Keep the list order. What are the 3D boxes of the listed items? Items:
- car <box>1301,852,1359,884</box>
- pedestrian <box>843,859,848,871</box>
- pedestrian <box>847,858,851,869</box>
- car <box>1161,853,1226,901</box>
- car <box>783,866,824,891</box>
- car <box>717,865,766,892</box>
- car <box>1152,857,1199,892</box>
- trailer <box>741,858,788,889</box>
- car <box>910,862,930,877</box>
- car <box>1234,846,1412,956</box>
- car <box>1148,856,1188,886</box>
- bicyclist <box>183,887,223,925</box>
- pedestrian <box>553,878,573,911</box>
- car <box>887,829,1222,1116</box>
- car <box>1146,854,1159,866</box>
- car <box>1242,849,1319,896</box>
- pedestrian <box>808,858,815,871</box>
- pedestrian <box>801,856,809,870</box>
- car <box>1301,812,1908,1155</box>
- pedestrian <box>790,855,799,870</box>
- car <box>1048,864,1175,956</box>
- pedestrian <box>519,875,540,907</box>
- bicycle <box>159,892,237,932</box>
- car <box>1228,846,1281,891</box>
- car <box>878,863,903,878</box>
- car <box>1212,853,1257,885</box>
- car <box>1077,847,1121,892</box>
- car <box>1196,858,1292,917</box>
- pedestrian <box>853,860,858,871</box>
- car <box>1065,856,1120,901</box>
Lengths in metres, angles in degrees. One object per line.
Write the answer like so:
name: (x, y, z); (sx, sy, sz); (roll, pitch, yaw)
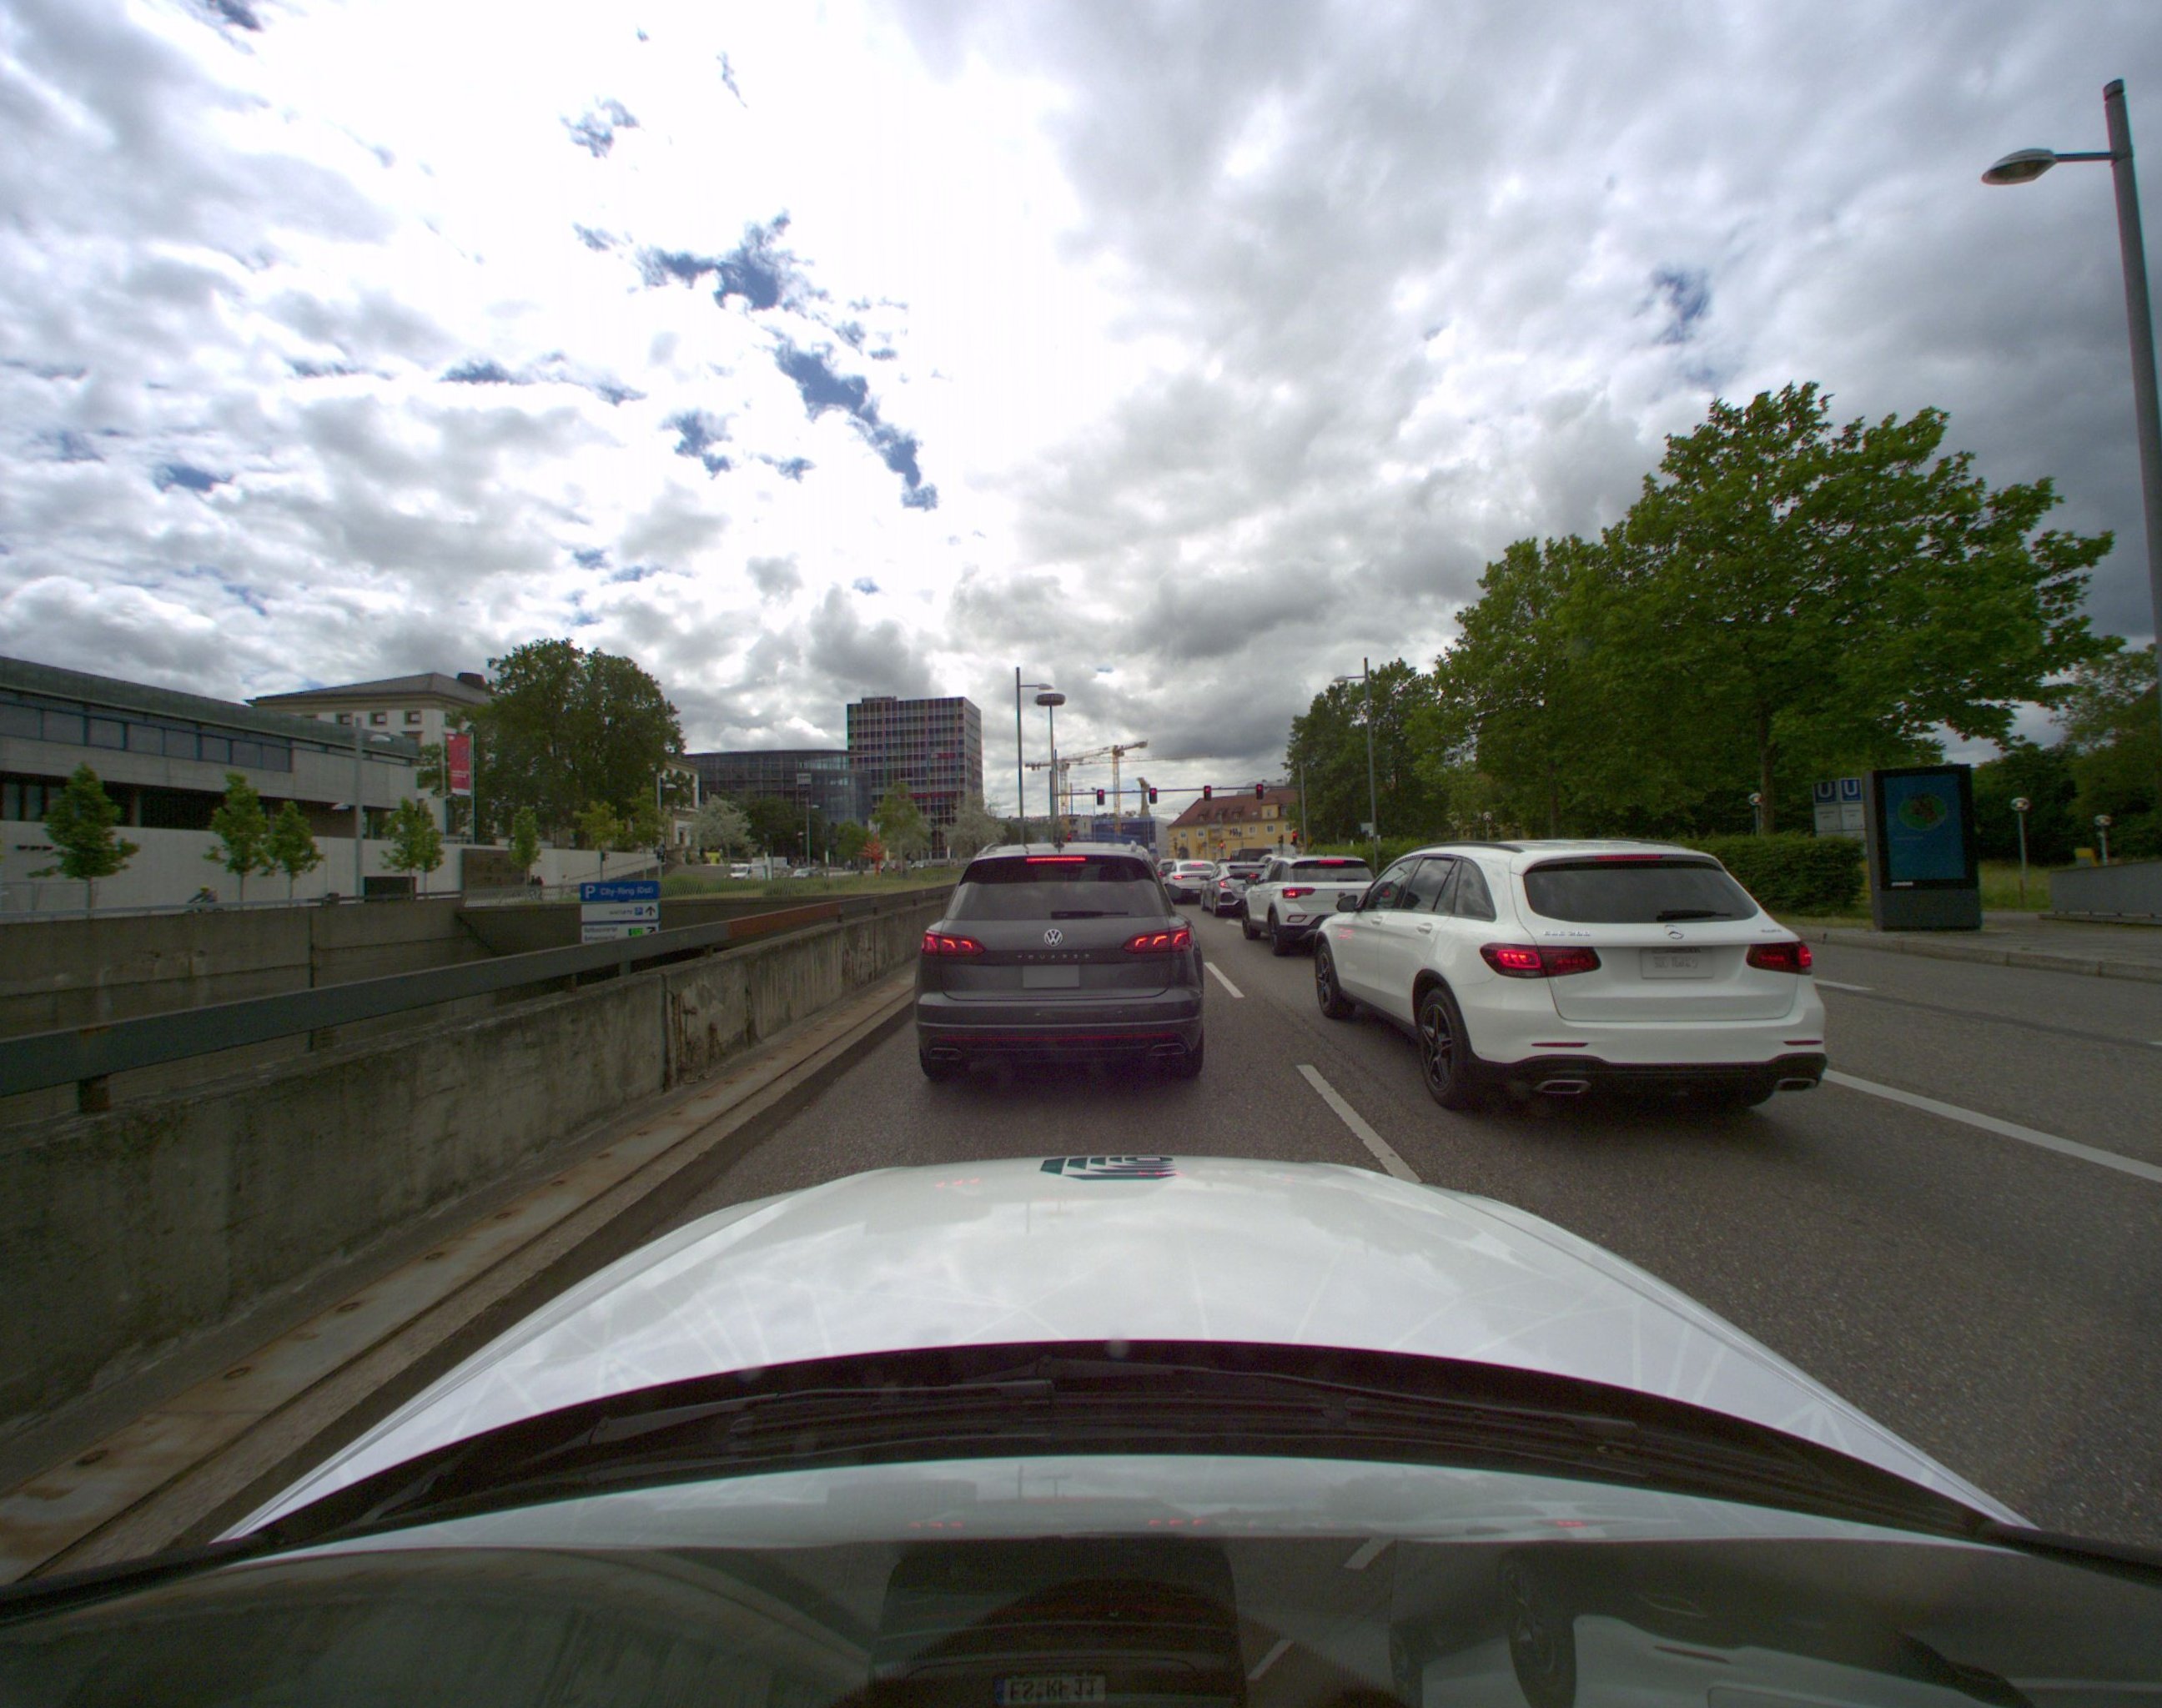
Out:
car: (12.111, 0.711, 39.910); (1.921, 1.460, 4.535); (0, -1, 7)
pedestrian: (-41.940, 1.966, 144.819); (0.741, 2.013, 0.787); (-2, 1, -20)
pedestrian: (-42.436, 1.746, 149.012); (0.739, 2.013, 0.789); (-2, 1, -14)
car: (3.903, 0.798, 28.961); (1.918, 1.529, 4.493); (-1, -1, 3)
car: (-25.687, 2.220, 75.509); (1.985, 2.013, 4.695); (-2, 1, 3)
car: (-28.822, 2.045, 69.283); (1.985, 2.013, 4.695); (-2, 1, 3)
car: (4.338, 0.940, 37.776); (1.918, 1.529, 4.050); (-1, -1, 3)
trailer: (-28.834, 1.715, 74.391); (2.030, 2.604, 5.511); (0, 0, 2)
car: (-24.080, 2.275, 121.877); (1.986, 2.013, 4.693); (-2, 1, 1)
car: (3.893, 0.715, 13.963); (1.918, 1.551, 4.493); (-1, -1, 3)
car: (4.657, 0.930, 44.061); (1.918, 1.529, 4.050); (-1, -1, 3)
bicyclist: (-36.084, 2.127, 33.464); (0.728, 1.554, 0.776); (0, -2, 1)
pedestrian: (-32.166, 2.494, 50.550); (0.621, 2.013, 0.868); (-1, 1, 43)
car: (-0.101, 0.709, 6.781); (1.944, 1.651, 4.001); (-1, 0, 1)
car: (9.721, 0.807, 111.373); (1.612, 1.627, 4.002); (0, -2, 3)
car: (7.824, 0.672, 32.364); (1.987, 1.639, 4.305); (-2, 1, 0)
pedestrian: (-42.946, 1.630, 129.871); (0.787, 2.013, 0.742); (-2, 1, 4)
pedestrian: (-38.547, 1.253, 113.636); (0.735, 2.014, 0.794); (-2, -3, 5)
car: (3.153, 0.635, 6.227); (1.918, 1.653, 4.493); (-1, 0, 3)
pedestrian: (-39.985, 1.192, 113.661); (0.735, 2.013, 0.793); (-2, 1, 2)
car: (0.523, 0.885, 14.506); (1.944, 1.384, 3.932); (0, 0, 1)
pedestrian: (-35.620, 2.414, 52.605); (0.732, 2.013, 0.797); (-1, 1, 20)
bicycle: (-36.135, 2.368, 33.376); (0.723, 1.536, 2.190); (0, -2, 1)
car: (8.259, 0.688, 39.054); (1.902, 2.014, 4.014); (0, -1, 3)
car: (-25.082, 2.173, 107.436); (1.986, 2.014, 4.693); (0, -2, 2)
car: (8.343, 0.823, 44.634); (1.902, 1.697, 4.014); (0, -1, 3)
car: (0.873, 0.715, 38.681); (1.944, 2.018, 3.932); (0, 0, 1)
car: (4.315, 0.856, 22.220); (1.918, 1.432, 4.493); (-1, -1, 3)
pedestrian: (-41.381, 2.063, 149.329); (0.739, 2.013, 0.789); (-2, 1, -14)
car: (0.476, 0.878, 31.149); (1.944, 1.600, 3.932); (0, 0, 1)
